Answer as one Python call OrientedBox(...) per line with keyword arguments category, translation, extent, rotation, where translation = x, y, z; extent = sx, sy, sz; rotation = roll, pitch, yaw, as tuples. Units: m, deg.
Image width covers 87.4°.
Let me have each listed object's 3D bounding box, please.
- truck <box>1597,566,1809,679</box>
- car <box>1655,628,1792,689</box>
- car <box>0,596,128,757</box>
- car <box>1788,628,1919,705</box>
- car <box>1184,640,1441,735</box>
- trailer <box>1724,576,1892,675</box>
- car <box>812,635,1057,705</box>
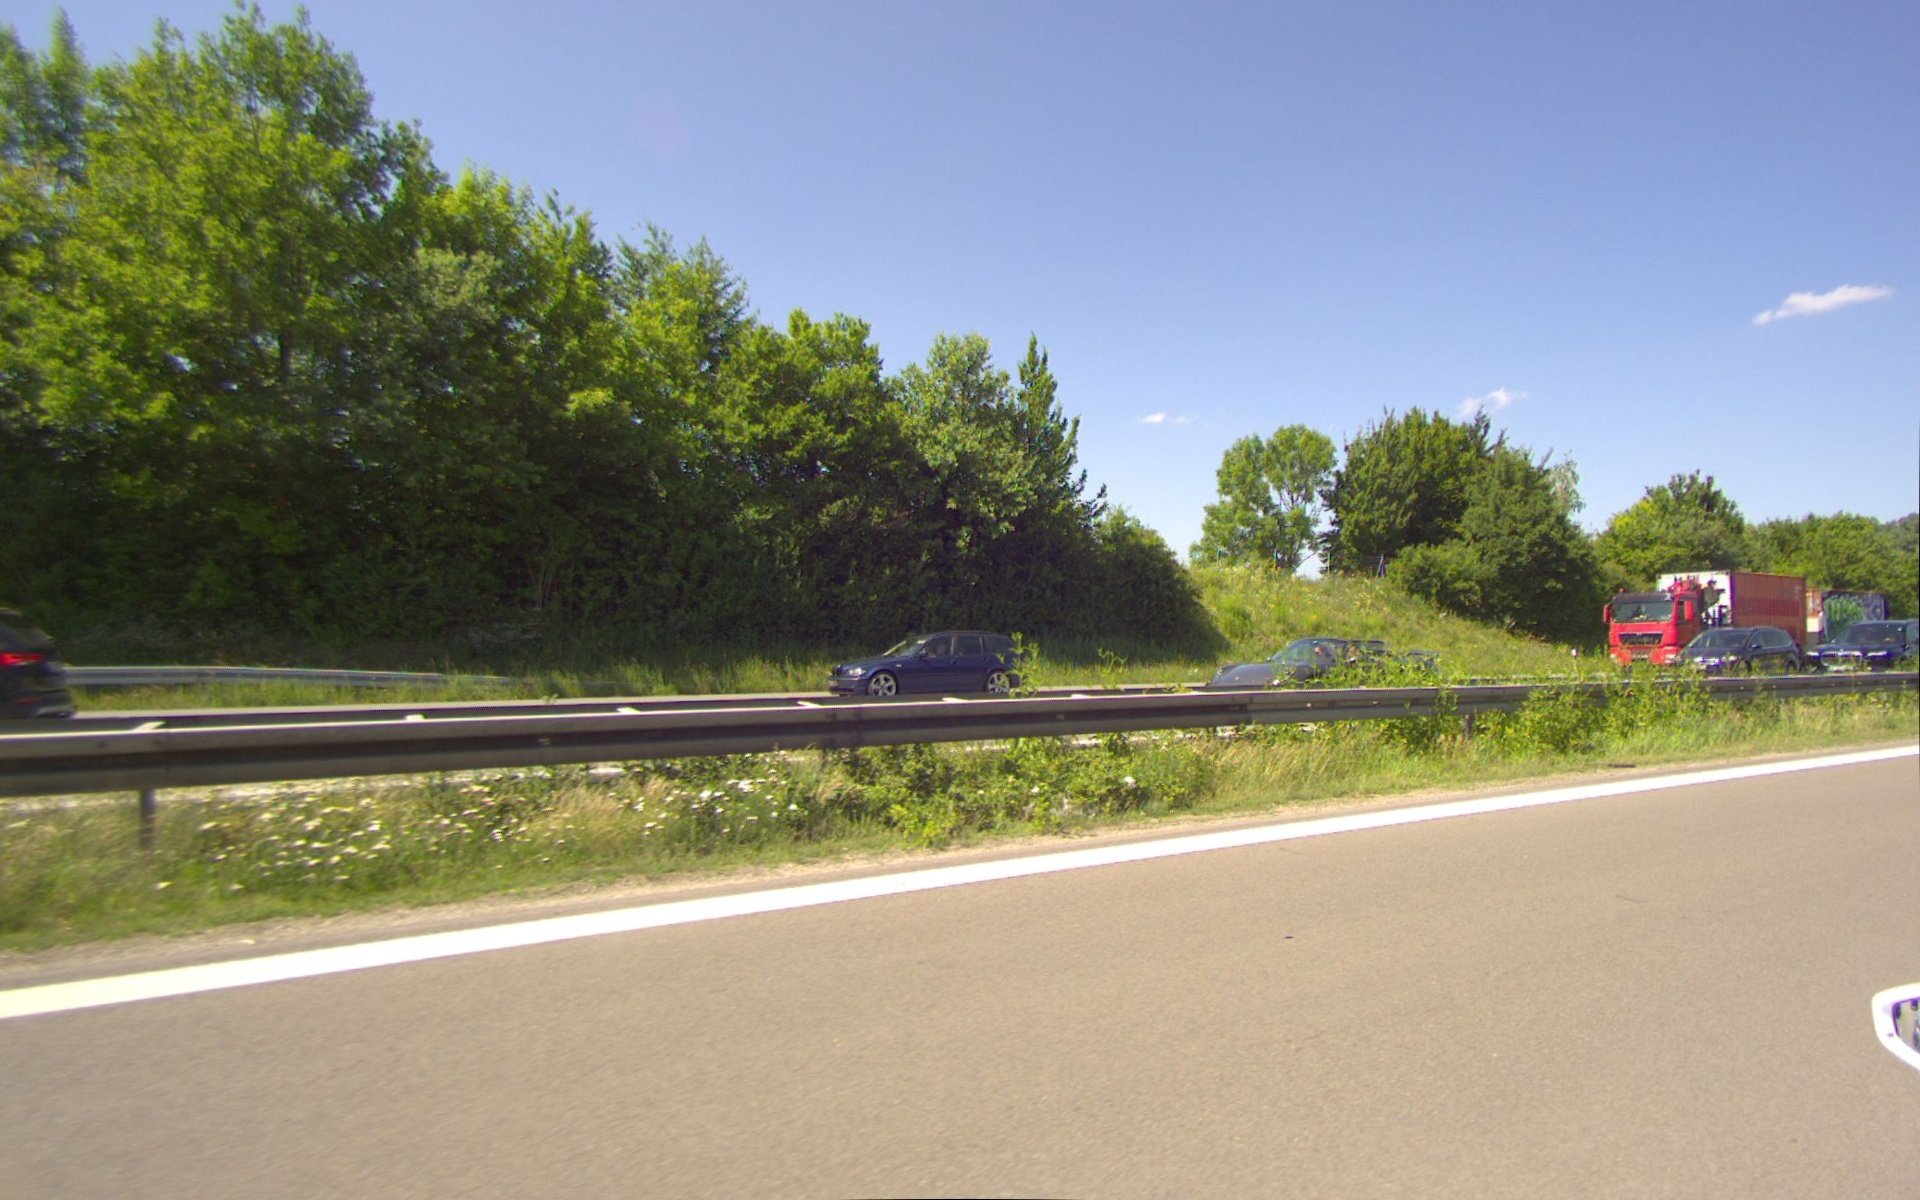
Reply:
OrientedBox(category="truck", translation=(27.934, 0.919, 37.574), extent=(9.801, 3.819, 2.667), rotation=(1, -3, -30))
OrientedBox(category="car", translation=(23.457, 1.748, 30.834), extent=(4.217, 1.712, 1.983), rotation=(1, -1, -31))
OrientedBox(category="car", translation=(-11.702, 0.762, 10.327), extent=(4.521, 1.651, 1.984), rotation=(1, -2, -31))
OrientedBox(category="car", translation=(24.368, 1.706, 26.863), extent=(4.843, 1.890, 1.983), rotation=(1, -2, -31))
OrientedBox(category="car", translation=(5.711, 1.323, 16.172), extent=(4.071, 1.334, 1.660), rotation=(1, -2, -30))
OrientedBox(category="trailer", translation=(35.567, 1.135, 42.031), extent=(8.307, 3.819, 2.667), rotation=(1, -3, -30))
OrientedBox(category="car", translation=(-0.481, 1.429, 21.303), extent=(5.003, 1.314, 1.738), rotation=(1, -2, -31))
